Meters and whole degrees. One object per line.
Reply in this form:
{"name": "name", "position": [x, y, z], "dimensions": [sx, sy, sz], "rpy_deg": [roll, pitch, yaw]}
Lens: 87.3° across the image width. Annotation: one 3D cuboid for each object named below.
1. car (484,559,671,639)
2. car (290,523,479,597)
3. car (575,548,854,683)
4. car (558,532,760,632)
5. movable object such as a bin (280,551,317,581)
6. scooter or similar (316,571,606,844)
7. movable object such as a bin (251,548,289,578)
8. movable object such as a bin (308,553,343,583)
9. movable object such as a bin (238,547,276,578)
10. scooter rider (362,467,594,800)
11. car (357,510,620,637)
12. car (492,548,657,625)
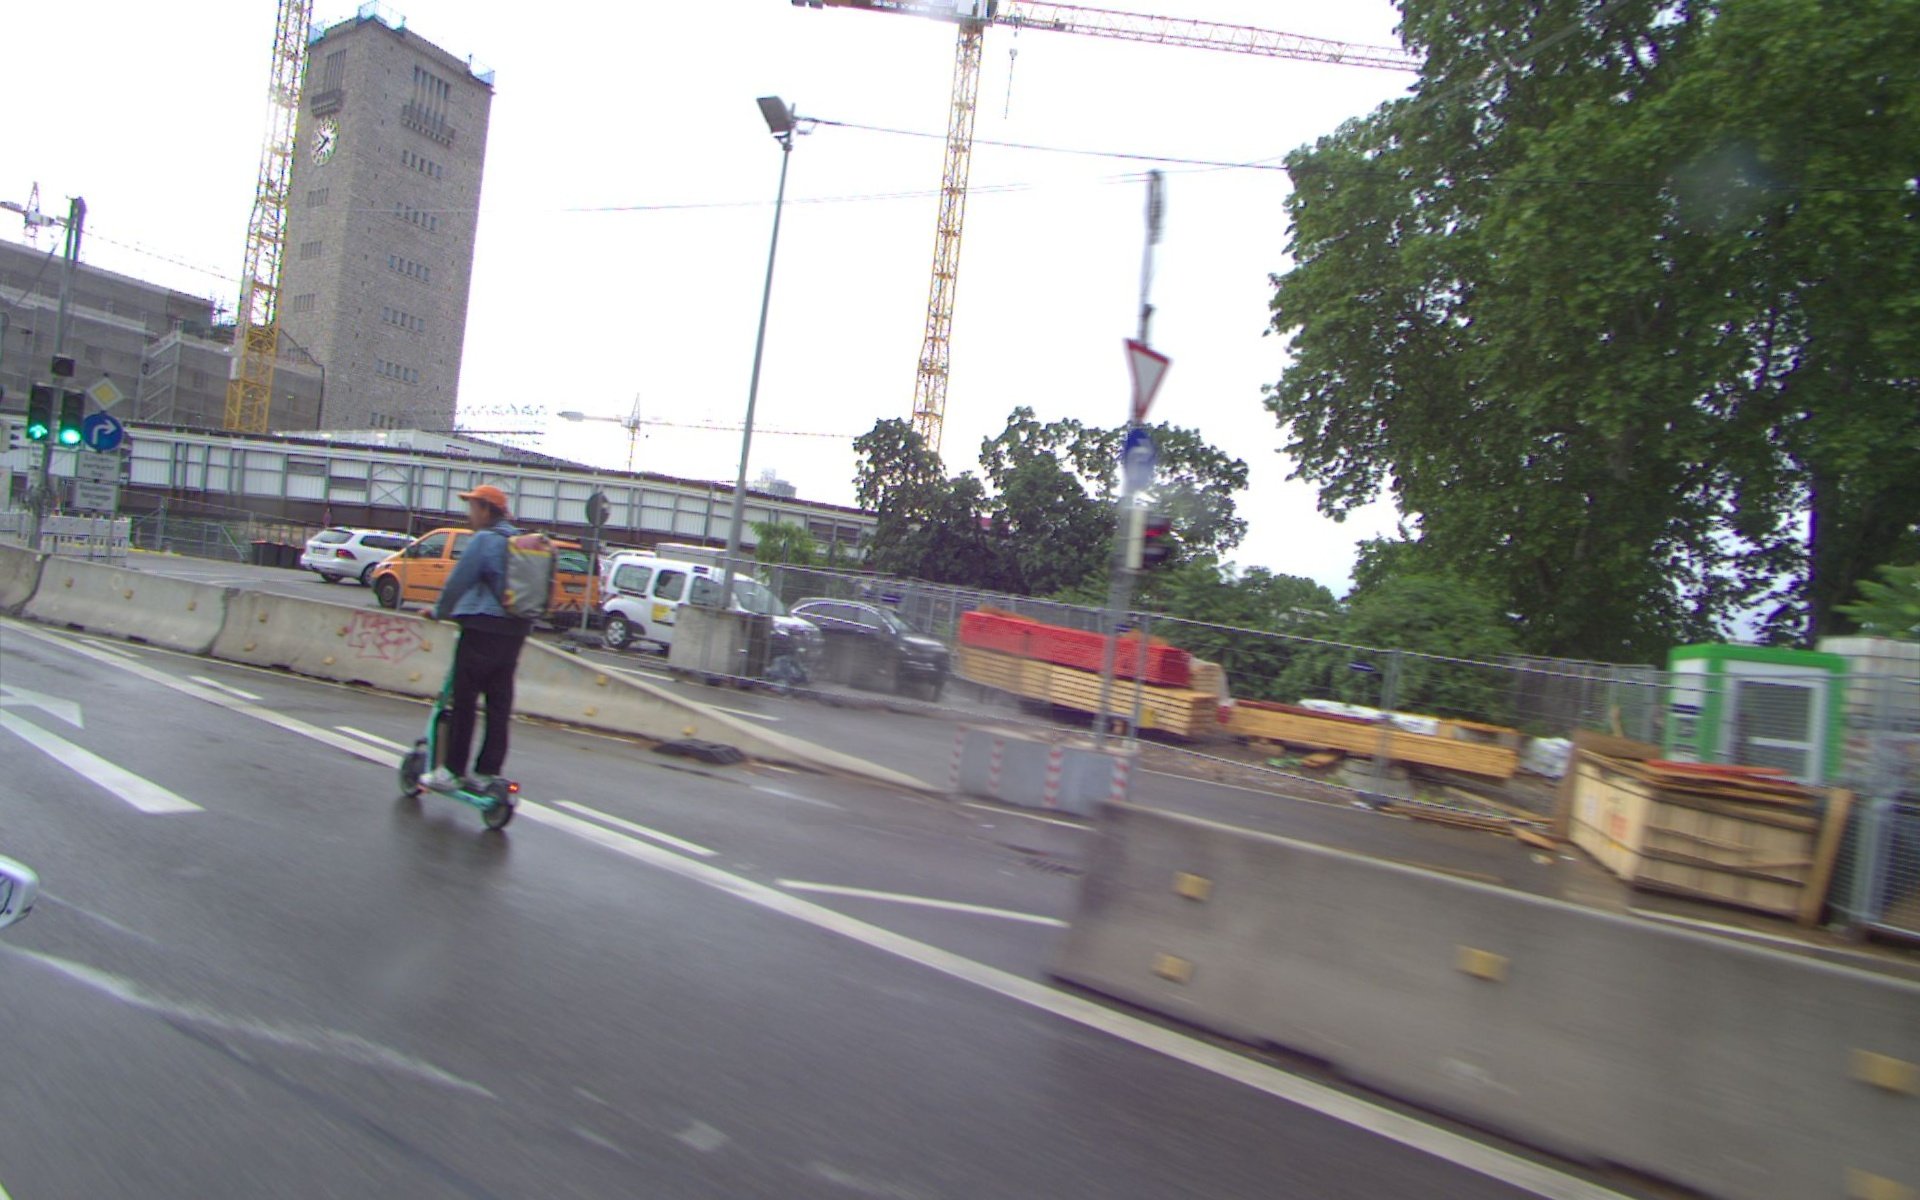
{"name": "car", "position": [-9.206, -0.032, 24.269], "dimensions": [3.841, 1.467, 1.920], "rpy_deg": [4, -4, 23]}
{"name": "car", "position": [-15.637, -1.025, 27.581], "dimensions": [1.781, 1.470, 4.215], "rpy_deg": [8, 0, 21]}
{"name": "car", "position": [-4.776, 0.287, 19.450], "dimensions": [4.995, 1.828, 1.852], "rpy_deg": [8, -1, 25]}
{"name": "car", "position": [-9.079, -0.530, 30.405], "dimensions": [5.500, 2.343, 2.051], "rpy_deg": [7, 1, 19]}
{"name": "movable object such as a bin", "position": [-26.844, -1.370, 40.809], "dimensions": [0.718, 1.115, 0.991], "rpy_deg": [5, 0, 34]}
{"name": "scooter or similar", "position": [-3.024, 0.595, 6.064], "dimensions": [1.638, 1.334, 0.598], "rpy_deg": [7, -1, 28]}
{"name": "movable object such as a bin", "position": [-27.391, -1.467, 39.931], "dimensions": [0.735, 1.115, 0.991], "rpy_deg": [5, 0, 34]}
{"name": "movable object such as a bin", "position": [-26.280, -1.311, 41.677], "dimensions": [0.718, 1.115, 0.991], "rpy_deg": [5, 0, 34]}
{"name": "movable object such as a bin", "position": [-28.216, -1.500, 40.383], "dimensions": [0.718, 1.115, 0.991], "rpy_deg": [5, 0, 34]}
{"name": "scooter rider", "position": [-2.873, 0.179, 6.009], "dimensions": [0.980, 1.807, 0.598], "rpy_deg": [7, -1, 28]}
{"name": "car", "position": [-10.073, -0.566, 21.490], "dimensions": [5.067, 1.998, 1.919], "rpy_deg": [7, -1, 20]}
{"name": "car", "position": [-10.764, -0.361, 28.158], "dimensions": [3.861, 1.640, 1.945], "rpy_deg": [7, 1, 19]}
